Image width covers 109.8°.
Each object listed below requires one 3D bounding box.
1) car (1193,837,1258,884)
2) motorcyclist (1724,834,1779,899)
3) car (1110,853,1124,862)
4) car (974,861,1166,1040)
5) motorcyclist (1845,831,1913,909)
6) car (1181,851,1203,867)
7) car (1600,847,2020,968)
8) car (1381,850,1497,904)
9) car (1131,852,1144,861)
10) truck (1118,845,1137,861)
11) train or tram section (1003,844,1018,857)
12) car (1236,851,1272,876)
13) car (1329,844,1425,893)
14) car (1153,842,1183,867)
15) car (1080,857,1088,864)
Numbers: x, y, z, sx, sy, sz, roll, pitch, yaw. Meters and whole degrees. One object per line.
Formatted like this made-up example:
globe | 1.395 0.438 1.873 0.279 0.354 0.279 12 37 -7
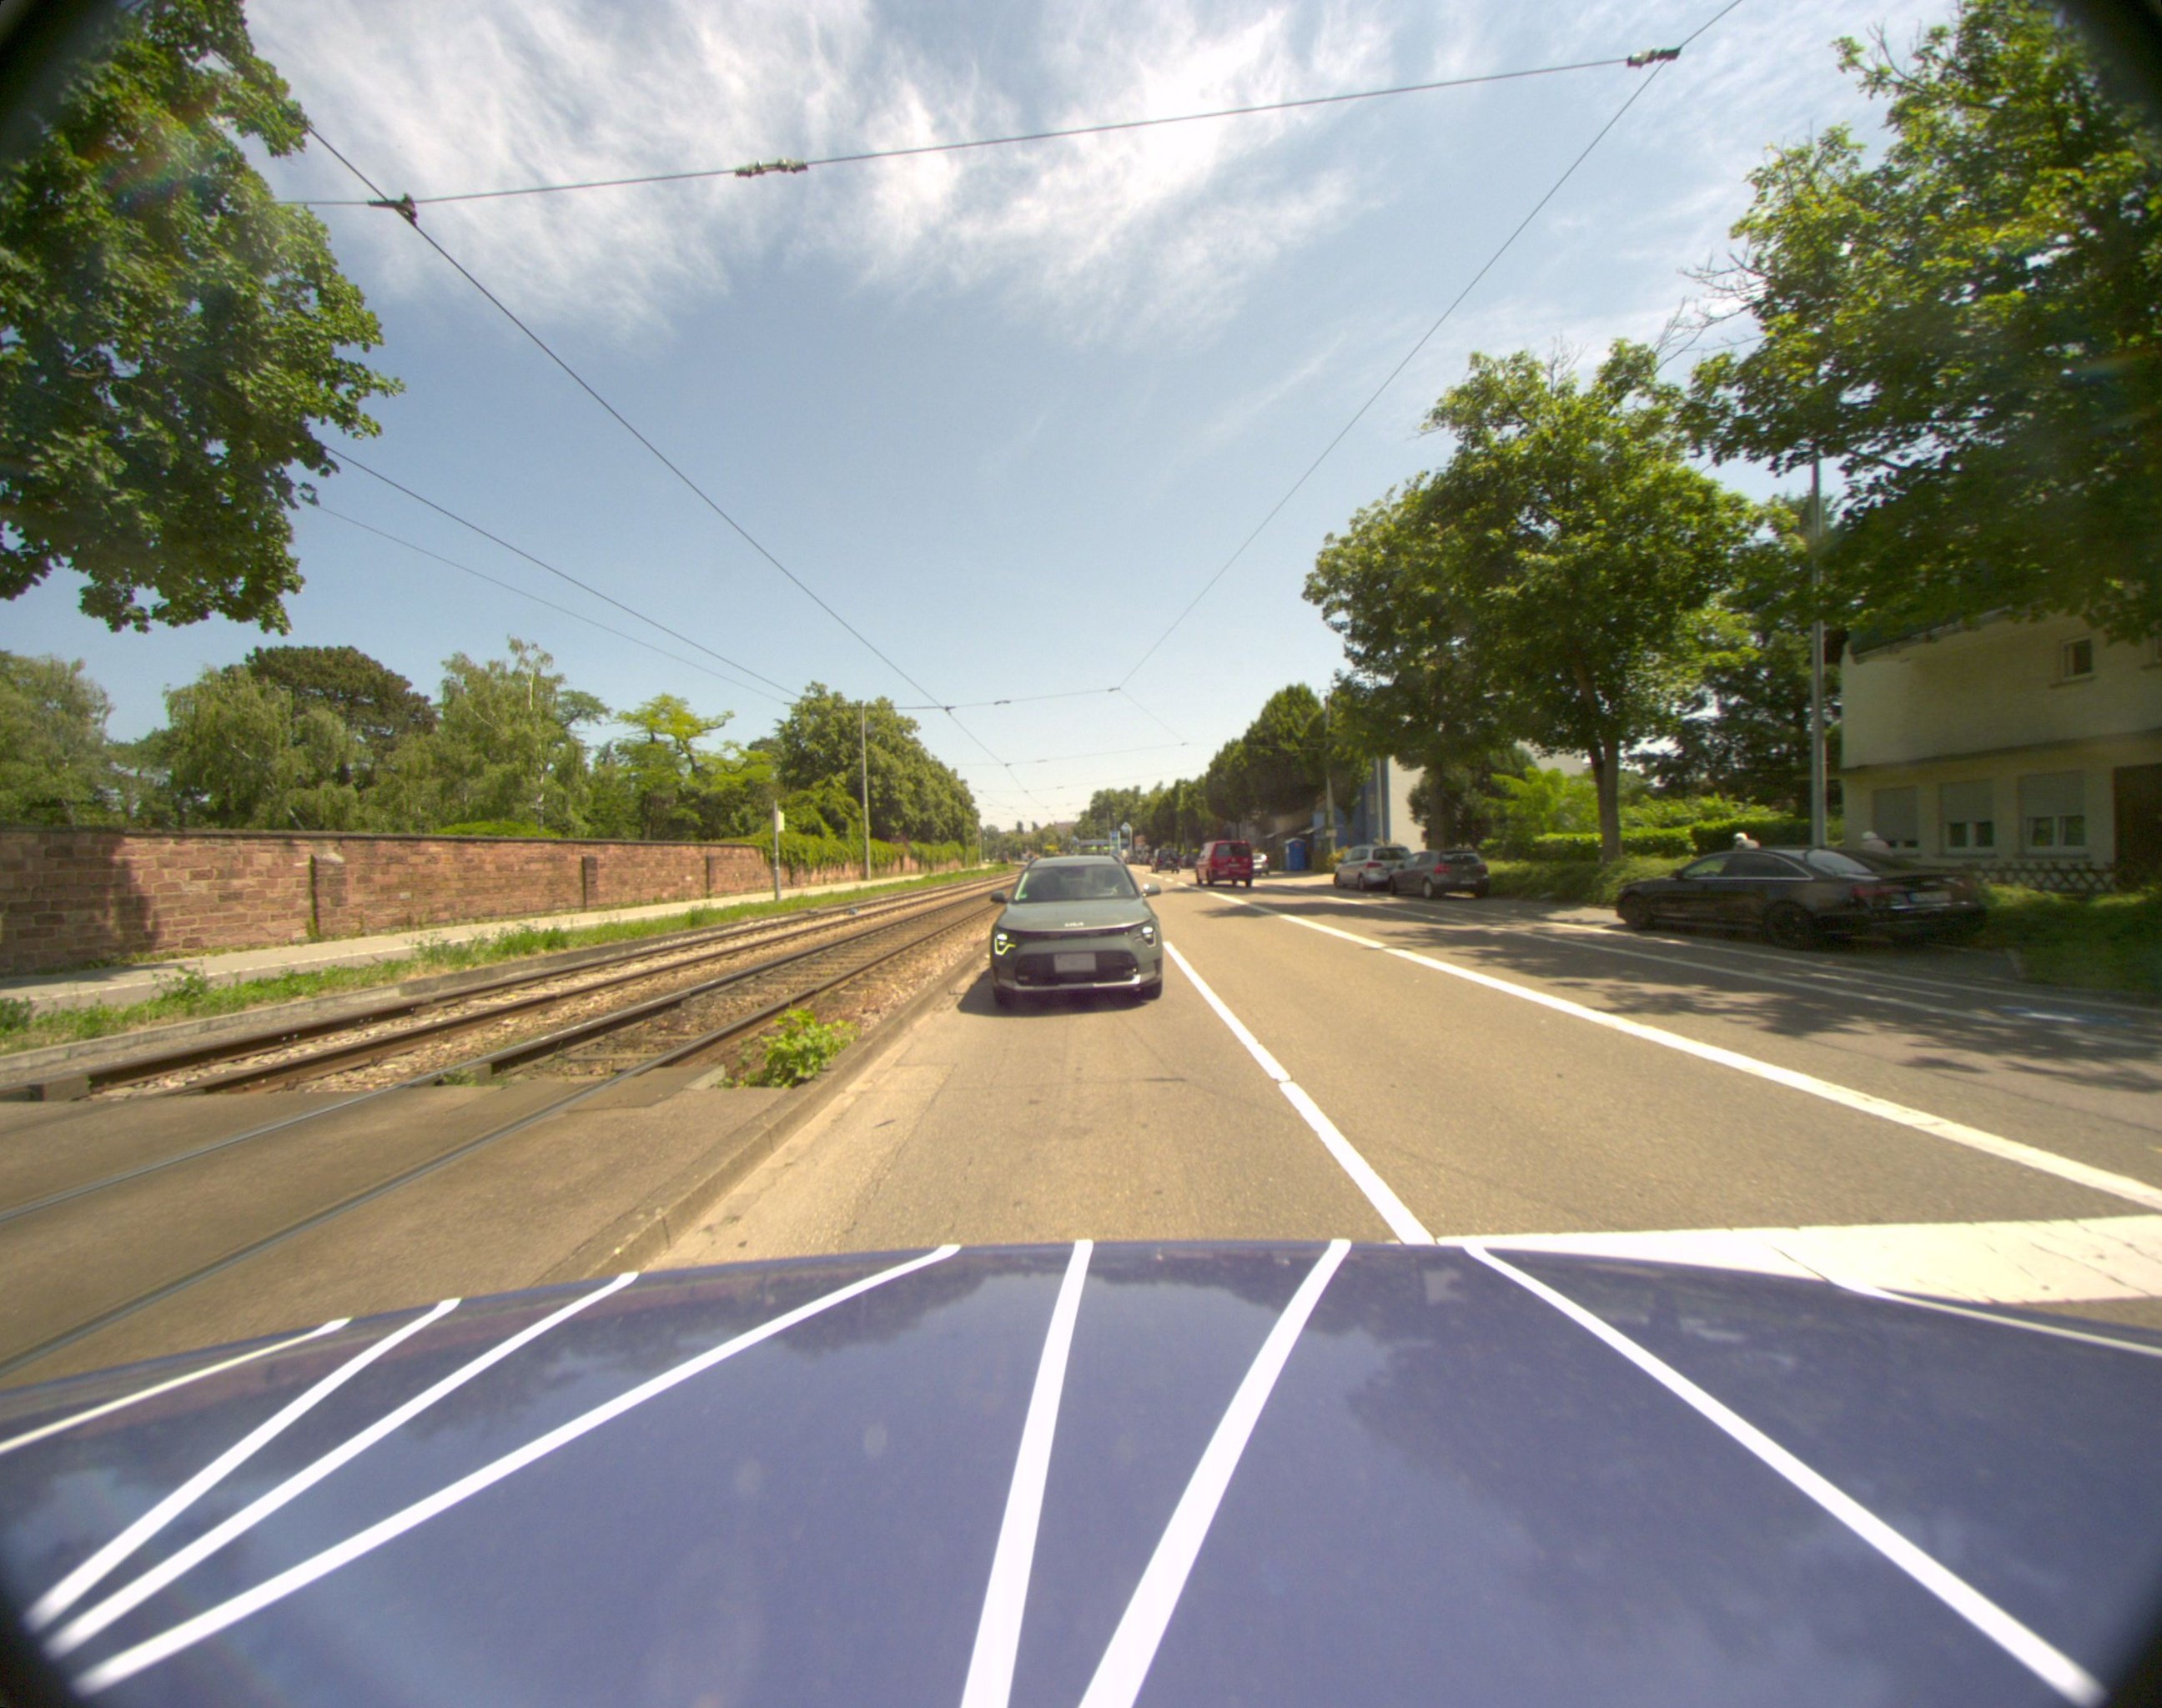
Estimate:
car | 6.277 0.272 33.611 1.904 1.915 4.819 0 0 -1
motorcyclist | 16.001 0.293 18.148 0.587 1.494 0.725 -4 1 2
car | 6.783 0.600 142.773 1.866 1.487 3.468 -5 0 -8
car | -0.059 0.941 9.426 1.759 1.574 4.427 -2 0 1
motorcyclist | 15.889 0.316 15.144 0.587 1.494 0.662 -4 1 2
car | 12.104 0.514 82.818 1.656 1.487 4.082 -5 0 -1
car | 10.832 0.668 11.976 1.899 1.448 4.809 -3 0 -1
car | 11.033 0.647 23.742 1.680 1.478 4.128 -3 0 1
car | 9.214 0.414 124.943 1.865 1.487 3.470 -1 0 -1
truck | 8.002 -0.196 131.041 2.135 2.565 4.861 -5 0 -8
train or tram section | -21.562 -1.152 233.439 2.813 3.785 14.260 -3 1 1
car | 11.566 0.589 50.982 1.505 1.487 3.282 -6 0 -1
car | 11.202 0.503 29.155 1.975 1.679 4.688 -3 0 2
car | 6.814 0.032 60.040 1.923 1.899 4.571 0 0 1
car | 0.652 1.519 184.626 1.865 1.487 3.470 -5 0 -1
